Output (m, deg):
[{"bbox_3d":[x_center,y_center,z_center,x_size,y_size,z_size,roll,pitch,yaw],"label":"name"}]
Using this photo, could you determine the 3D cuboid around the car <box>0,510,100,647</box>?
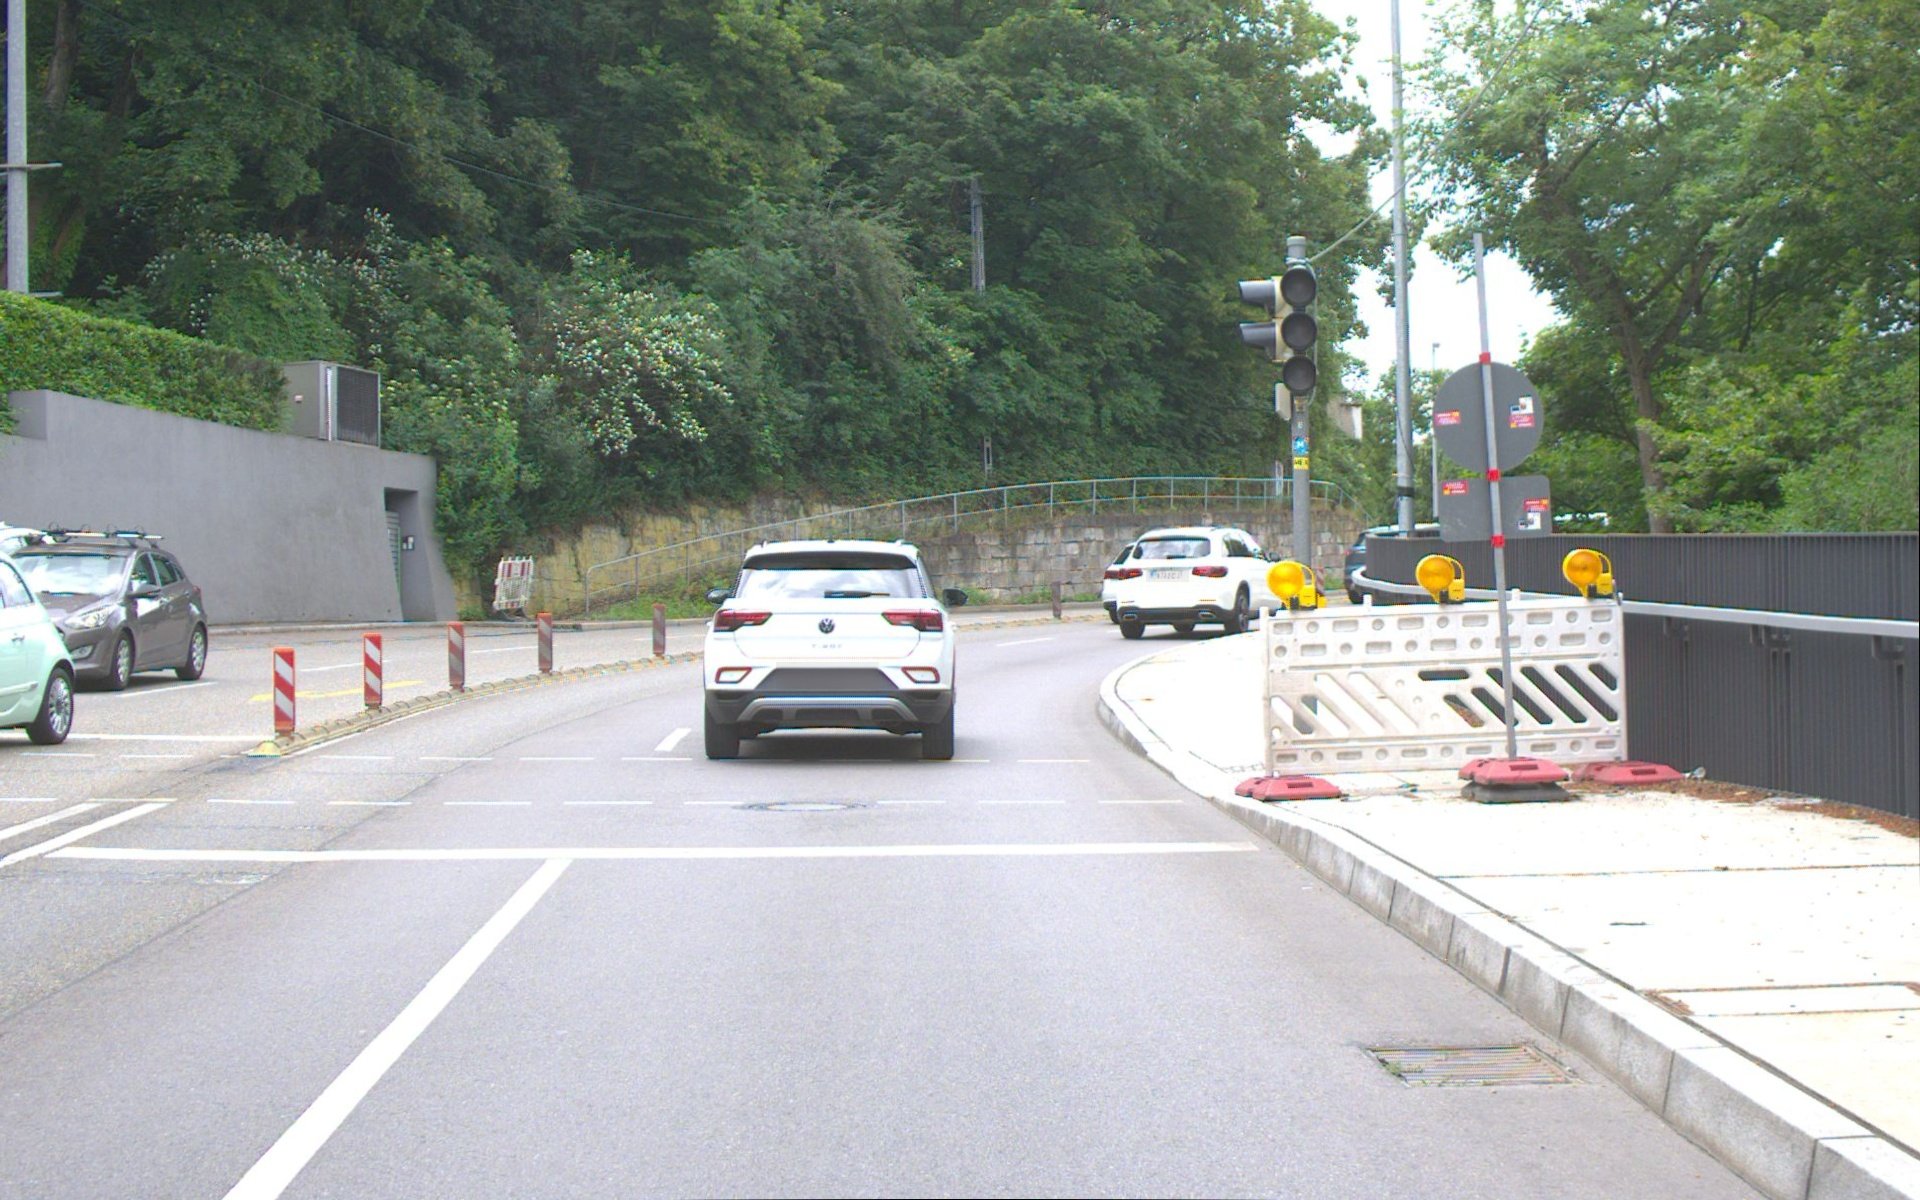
[{"bbox_3d":[-11.743,-0.271,39.984,1.833,1.567,4.474,1,1,7],"label":"car"}]

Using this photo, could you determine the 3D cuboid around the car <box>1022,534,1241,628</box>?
[{"bbox_3d":[3.050,-0.323,60.461,1.911,1.568,3.991,2,1,37],"label":"car"}]

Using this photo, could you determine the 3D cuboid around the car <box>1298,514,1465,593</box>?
[{"bbox_3d":[8.668,-0.937,70.427,1.997,1.535,4.003,2,1,29],"label":"car"}]

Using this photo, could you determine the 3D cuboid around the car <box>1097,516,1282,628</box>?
[{"bbox_3d":[3.516,-0.415,51.935,1.995,1.581,3.997,2,1,15],"label":"car"}]

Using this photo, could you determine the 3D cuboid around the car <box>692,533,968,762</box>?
[{"bbox_3d":[-0.988,0.288,25.292,1.867,1.531,3.804,0,1,-3],"label":"car"}]

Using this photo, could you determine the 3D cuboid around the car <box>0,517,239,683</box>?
[{"bbox_3d":[-8.895,-0.021,35.286,1.711,1.592,4.206,0,0,6],"label":"car"}]

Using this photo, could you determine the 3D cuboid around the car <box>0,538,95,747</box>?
[{"bbox_3d":[-7.616,0.289,24.304,1.711,1.461,3.660,1,1,7],"label":"car"}]
